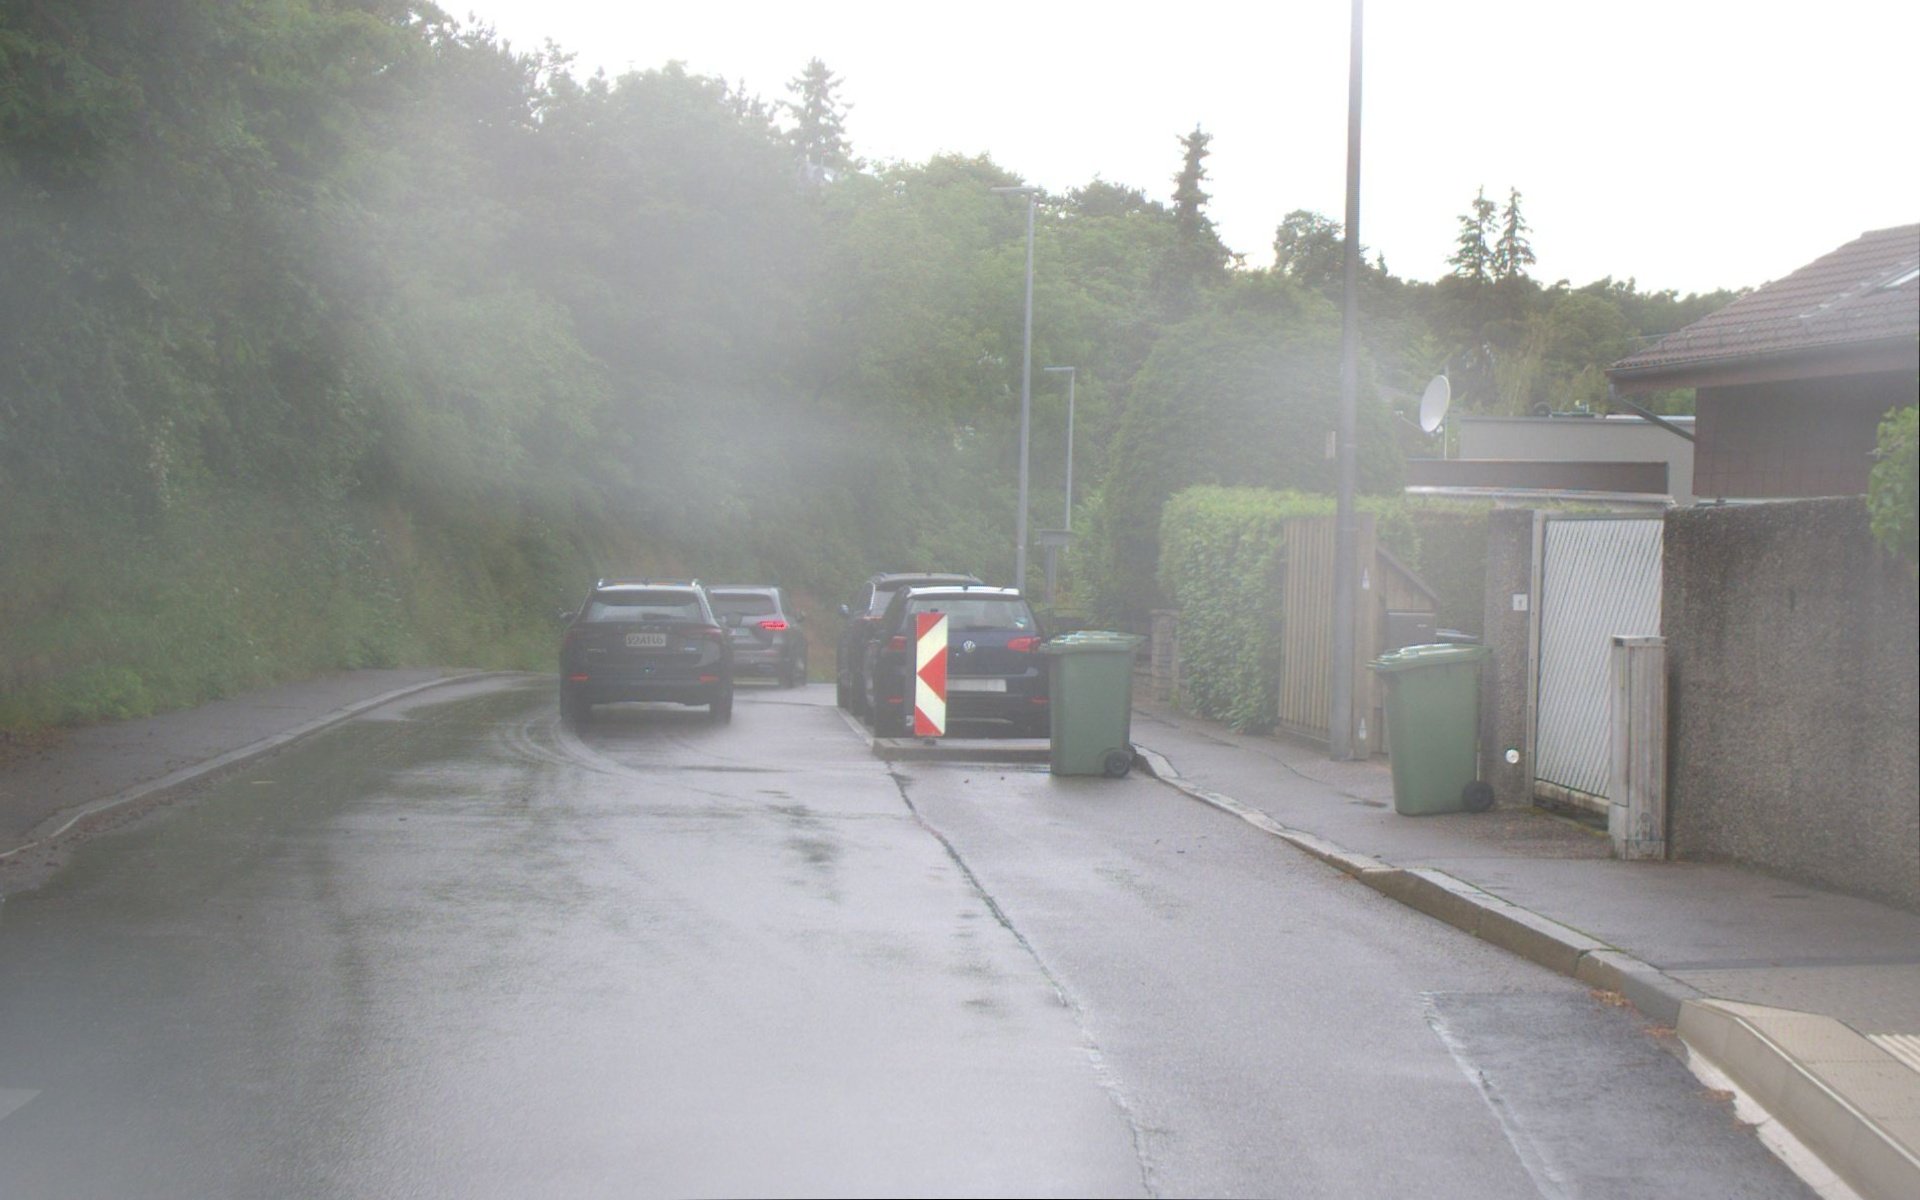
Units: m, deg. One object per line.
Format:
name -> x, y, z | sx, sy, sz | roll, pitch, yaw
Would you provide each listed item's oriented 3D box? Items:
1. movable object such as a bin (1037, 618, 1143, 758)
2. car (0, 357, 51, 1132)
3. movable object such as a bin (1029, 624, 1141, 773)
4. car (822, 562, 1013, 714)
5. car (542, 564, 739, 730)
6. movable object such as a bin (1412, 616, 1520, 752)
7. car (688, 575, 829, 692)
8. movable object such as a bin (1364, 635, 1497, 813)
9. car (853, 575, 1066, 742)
movable object such as a bin -> 1.038, 0.698, 27.496 | 0.729, 1.075, 0.661 | 2, 1, -6
car -> -3.459, 0.391, 6.582 | 2.111, 1.968, 5.173 | 1, 1, -1
movable object such as a bin -> 0.955, 0.747, 26.341 | 0.715, 1.092, 0.656 | 2, 1, -8
car -> -0.543, 0.389, 39.214 | 1.875, 1.586, 4.480 | 1, 1, -4
car -> -3.306, 0.543, 36.183 | 1.868, 1.507, 4.092 | 3, -3, -3
movable object such as a bin -> 4.331, 0.714, 29.409 | 0.748, 1.100, 0.819 | 4, 0, 15
car -> -3.033, 0.474, 52.056 | 1.993, 1.600, 4.409 | 2, 1, -3
movable object such as a bin -> 2.982, 0.777, 21.829 | 0.739, 1.085, 0.600 | -1, 1, -1
car -> -0.070, 0.527, 34.014 | 1.755, 1.457, 4.301 | 2, 1, -4
